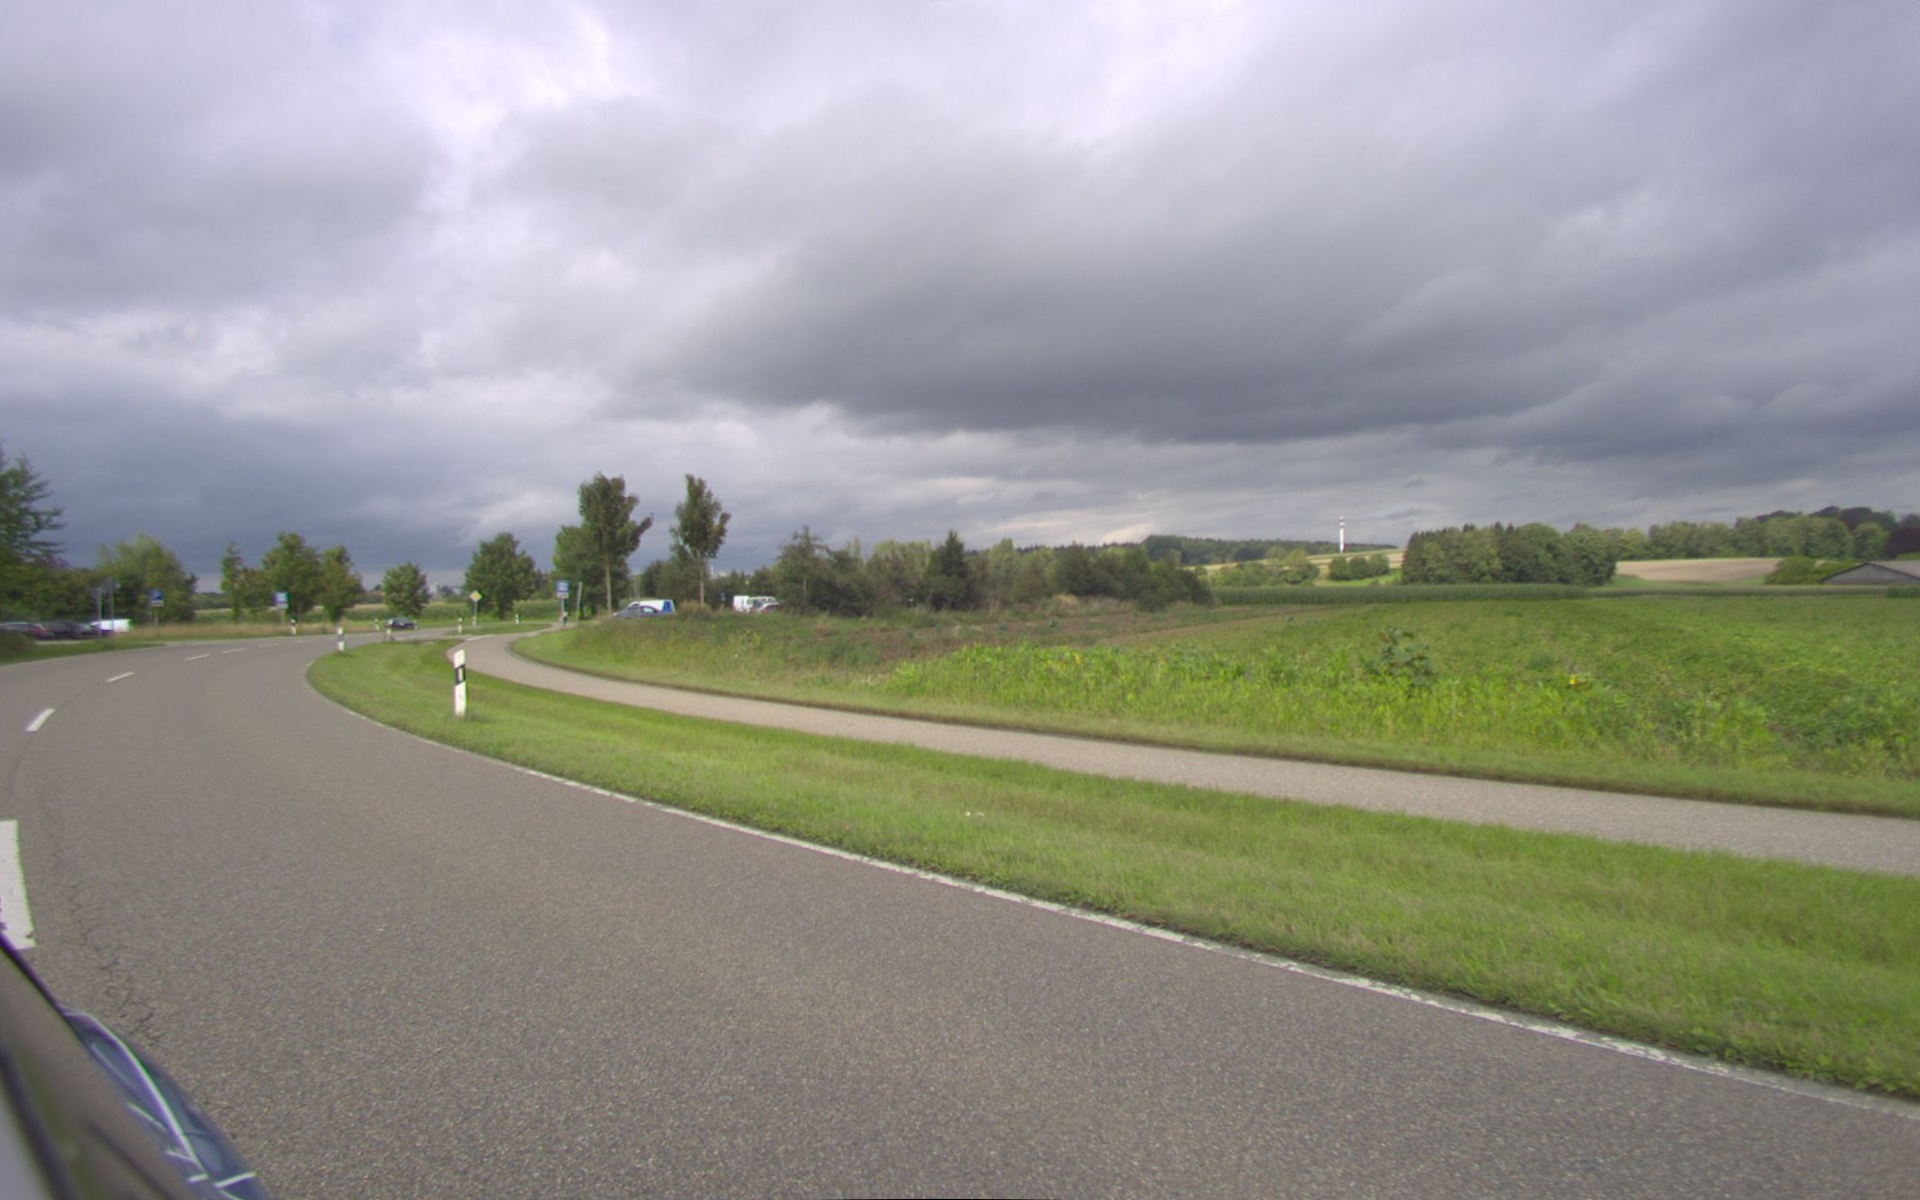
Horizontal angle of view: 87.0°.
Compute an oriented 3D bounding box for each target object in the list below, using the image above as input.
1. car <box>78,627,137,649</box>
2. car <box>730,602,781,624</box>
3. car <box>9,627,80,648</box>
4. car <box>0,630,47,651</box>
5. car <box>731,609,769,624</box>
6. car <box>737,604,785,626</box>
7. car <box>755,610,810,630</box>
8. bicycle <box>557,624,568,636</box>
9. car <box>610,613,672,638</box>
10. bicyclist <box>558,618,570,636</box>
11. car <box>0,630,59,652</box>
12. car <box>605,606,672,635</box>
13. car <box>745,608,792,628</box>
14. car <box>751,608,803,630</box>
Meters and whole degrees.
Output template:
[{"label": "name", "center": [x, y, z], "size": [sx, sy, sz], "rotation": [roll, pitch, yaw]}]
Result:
[{"label": "car", "center": [-80.723, 3.593, 95.852], "size": [3.931, 1.874, 2.006], "rotation": [-1, -1, -28]}, {"label": "car", "center": [-26.317, 1.721, 130.435], "size": [6.229, 2.639, 2.207], "rotation": [-2, -1, -15]}, {"label": "car", "center": [-74.420, 3.044, 82.333], "size": [3.932, 1.508, 2.006], "rotation": [-1, -1, -32]}, {"label": "car", "center": [-69.994, 2.989, 74.299], "size": [4.095, 1.425, 2.006], "rotation": [-1, -1, -32]}, {"label": "car", "center": [-23.718, 1.838, 114.370], "size": [3.932, 1.536, 1.799], "rotation": [-2, 0, -17]}, {"label": "car", "center": [-20.521, 1.519, 104.432], "size": [4.617, 1.940, 2.067], "rotation": [-3, 0, -17]}, {"label": "car", "center": [-14.123, 1.593, 80.404], "size": [3.931, 1.398, 1.848], "rotation": [-3, 0, -22]}, {"label": "bicycle", "center": [-35.304, 2.688, 89.974], "size": [0.627, 1.040, 2.196], "rotation": [-1, -1, -14]}, {"label": "car", "center": [-22.958, 1.810, 72.938], "size": [4.190, 1.607, 2.006], "rotation": [-2, -1, -15]}, {"label": "bicyclist", "center": [-35.303, 2.421, 90.153], "size": [0.820, 1.577, 1.058], "rotation": [-1, -1, -12]}, {"label": "car", "center": [-71.793, 3.122, 77.337], "size": [3.941, 1.516, 2.058], "rotation": [-1, -1, -26]}, {"label": "car", "center": [-24.667, 1.578, 77.778], "size": [4.826, 2.029, 2.062], "rotation": [-2, -1, -16]}, {"label": "car", "center": [-17.030, 1.578, 89.971], "size": [3.933, 1.563, 1.971], "rotation": [-3, 0, -15]}, {"label": "car", "center": [-15.408, 1.600, 85.154], "size": [3.931, 1.563, 1.972], "rotation": [-3, 0, -22]}]
